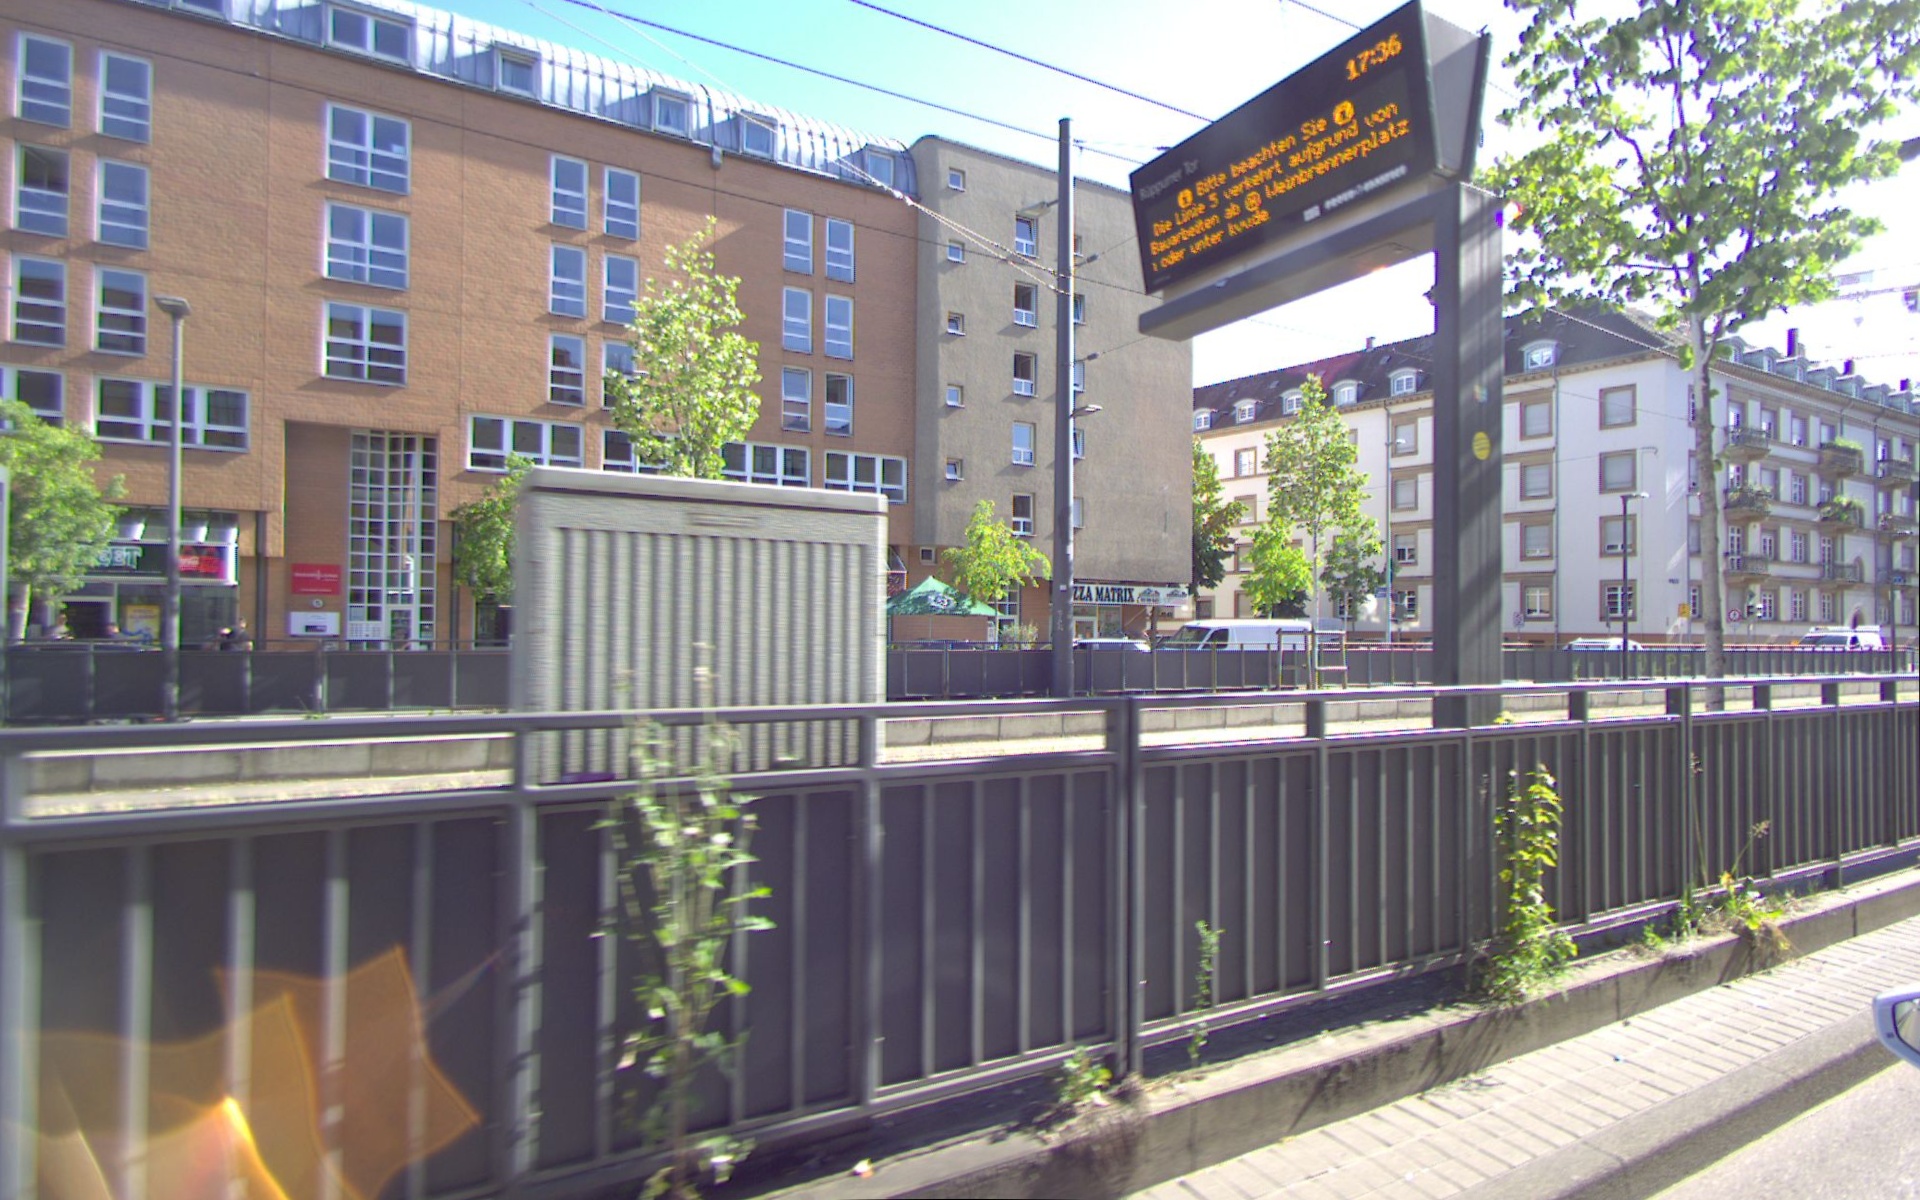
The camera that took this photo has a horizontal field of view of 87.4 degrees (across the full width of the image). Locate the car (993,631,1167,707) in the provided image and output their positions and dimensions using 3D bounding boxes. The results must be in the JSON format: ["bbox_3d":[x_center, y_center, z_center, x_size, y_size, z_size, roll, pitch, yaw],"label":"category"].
[{"bbox_3d":[3.047,1.725,25.413,3.954,1.706,1.984,2,-1,-30],"label":"car"}]

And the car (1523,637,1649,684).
[{"bbox_3d":[19.291,1.869,30.938,3.916,1.303,1.686,2,-1,-31],"label":"car"}]

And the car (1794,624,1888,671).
[{"bbox_3d":[36.865,1.997,42.000,4.043,1.818,1.811,2,-1,-31],"label":"car"}]

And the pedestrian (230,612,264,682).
[{"bbox_3d":[-19.231,1.270,27.106,0.637,1.864,0.618,1,-2,-30],"label":"pedestrian"}]

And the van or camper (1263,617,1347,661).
[{"bbox_3d":[20.013,2.231,58.159,5.911,2.432,1.976,2,-2,-42],"label":"van or camper"}]

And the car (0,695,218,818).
[{"bbox_3d":[-13.407,2.240,14.624,3.955,1.483,1.869,2,-1,-31],"label":"car"}]

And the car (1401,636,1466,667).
[{"bbox_3d":[24.932,2.681,52.854,3.643,1.542,1.672,2,-2,-39],"label":"car"}]

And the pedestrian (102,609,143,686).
[{"bbox_3d":[-20.768,1.173,24.914,0.637,1.864,0.617,1,-2,-31],"label":"pedestrian"}]

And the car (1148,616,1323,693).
[{"bbox_3d":[9.150,1.780,33.288,5.564,2.401,1.989,1,-1,-23],"label":"car"}]

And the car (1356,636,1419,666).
[{"bbox_3d":[23.113,2.727,54.291,3.635,1.542,1.672,2,-2,-39],"label":"car"}]

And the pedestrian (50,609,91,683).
[{"bbox_3d":[-22.855,1.188,25.820,0.637,1.864,0.617,1,-2,-31],"label":"pedestrian"}]
